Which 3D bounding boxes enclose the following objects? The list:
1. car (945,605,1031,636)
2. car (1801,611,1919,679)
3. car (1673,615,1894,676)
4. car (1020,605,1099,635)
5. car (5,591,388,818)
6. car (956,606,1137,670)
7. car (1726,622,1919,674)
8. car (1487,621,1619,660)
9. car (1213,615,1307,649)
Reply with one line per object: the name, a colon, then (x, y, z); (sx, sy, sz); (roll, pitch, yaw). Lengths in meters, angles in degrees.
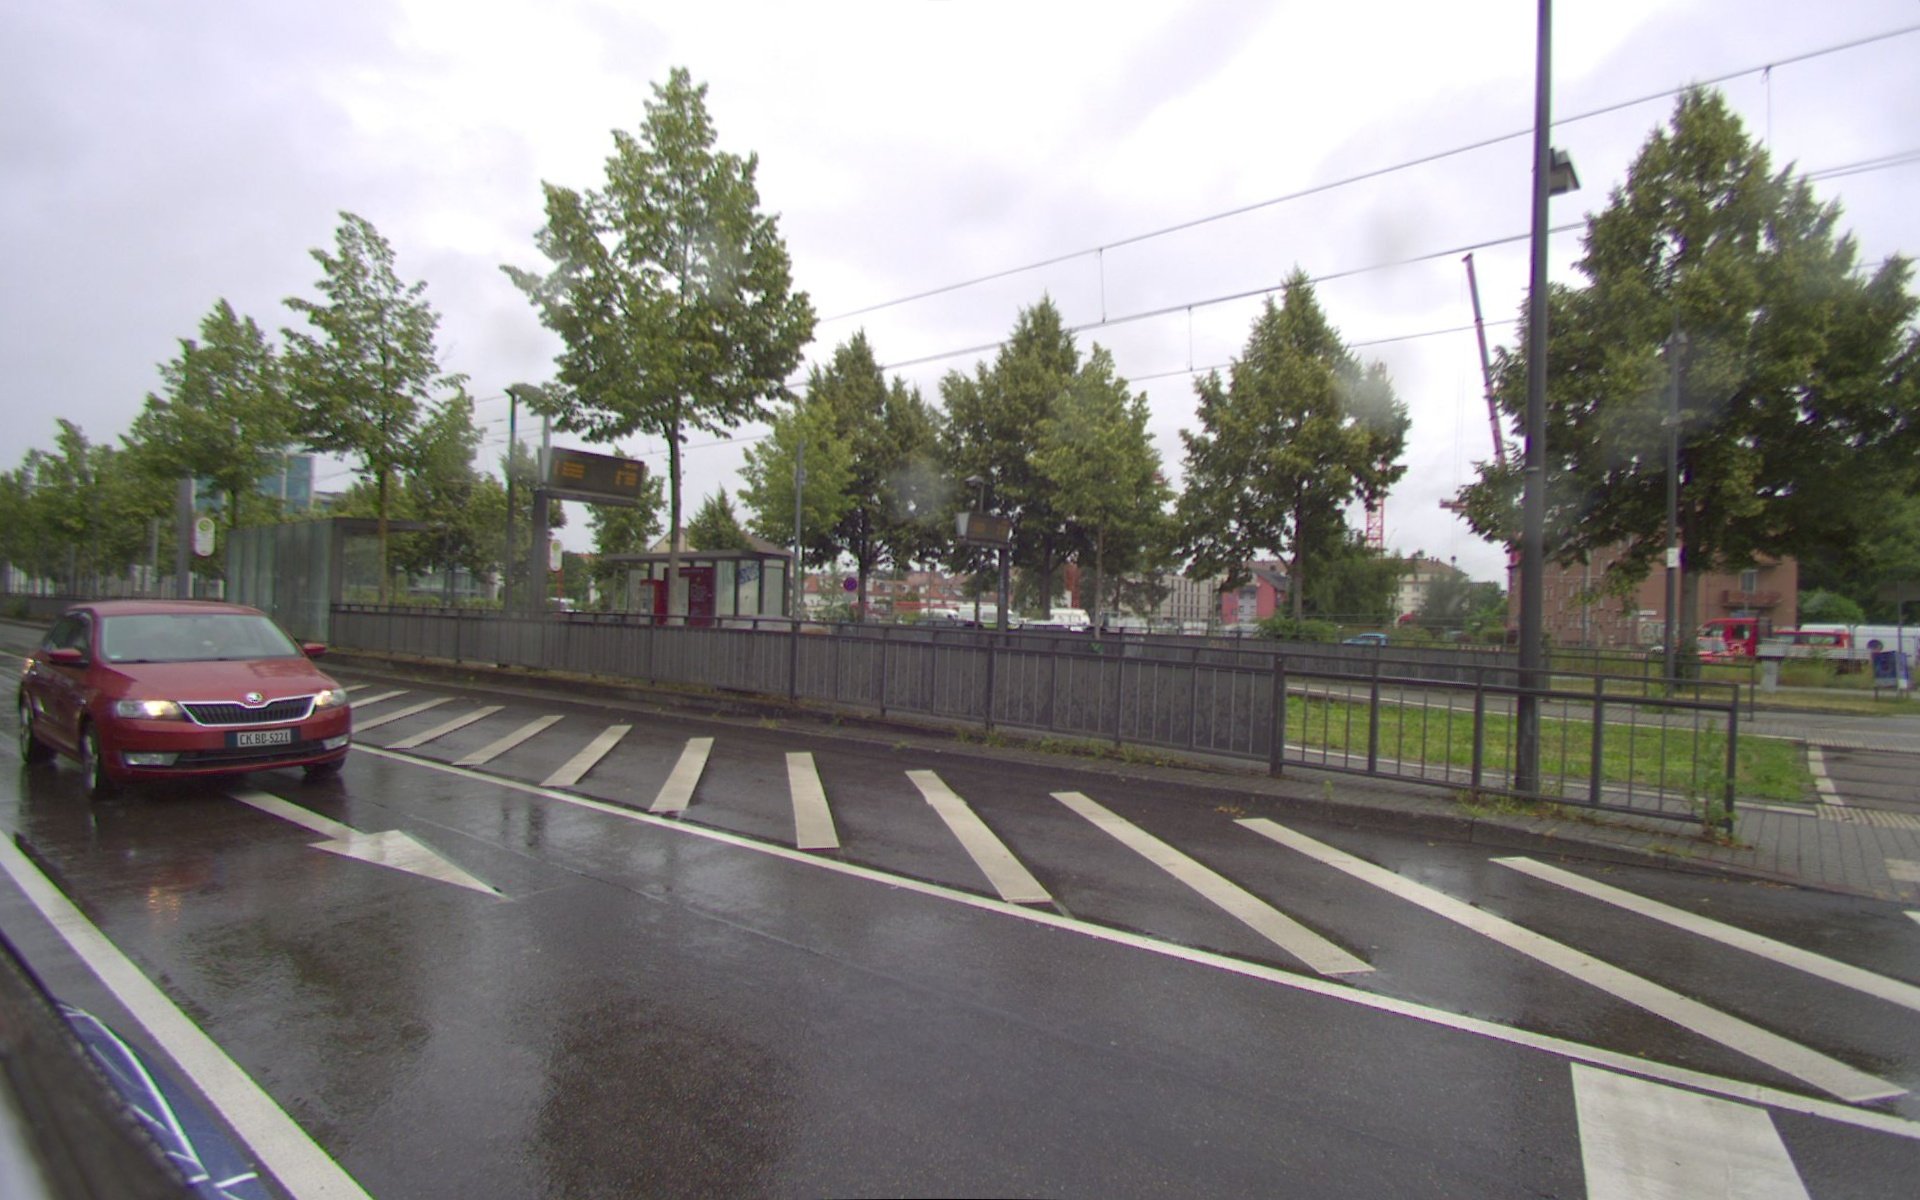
car: (2.386, 1.774, 88.166); (7.627, 2.495, 2.327); (0, 1, 37)
car: (43.781, 2.062, 47.365); (2.319, 2.961, 6.441); (0, 1, -38)
car: (32.240, 1.690, 39.860); (2.319, 2.029, 6.441); (0, 1, -38)
car: (8.960, 1.733, 91.280); (6.826, 2.495, 2.470); (0, 1, 37)
car: (-6.680, 0.662, 8.666); (4.313, 1.470, 1.765); (1, 1, 41)
car: (2.241, 0.954, 26.984); (4.622, 1.497, 1.807); (0, 1, 40)
car: (37.705, 2.027, 44.182); (2.319, 2.029, 6.440); (2, -2, -38)
car: (34.474, 2.316, 59.098); (6.392, 2.029, 2.337); (0, 1, 26)
car: (23.732, 2.506, 80.193); (6.803, 2.495, 2.335); (1, -1, 28)
